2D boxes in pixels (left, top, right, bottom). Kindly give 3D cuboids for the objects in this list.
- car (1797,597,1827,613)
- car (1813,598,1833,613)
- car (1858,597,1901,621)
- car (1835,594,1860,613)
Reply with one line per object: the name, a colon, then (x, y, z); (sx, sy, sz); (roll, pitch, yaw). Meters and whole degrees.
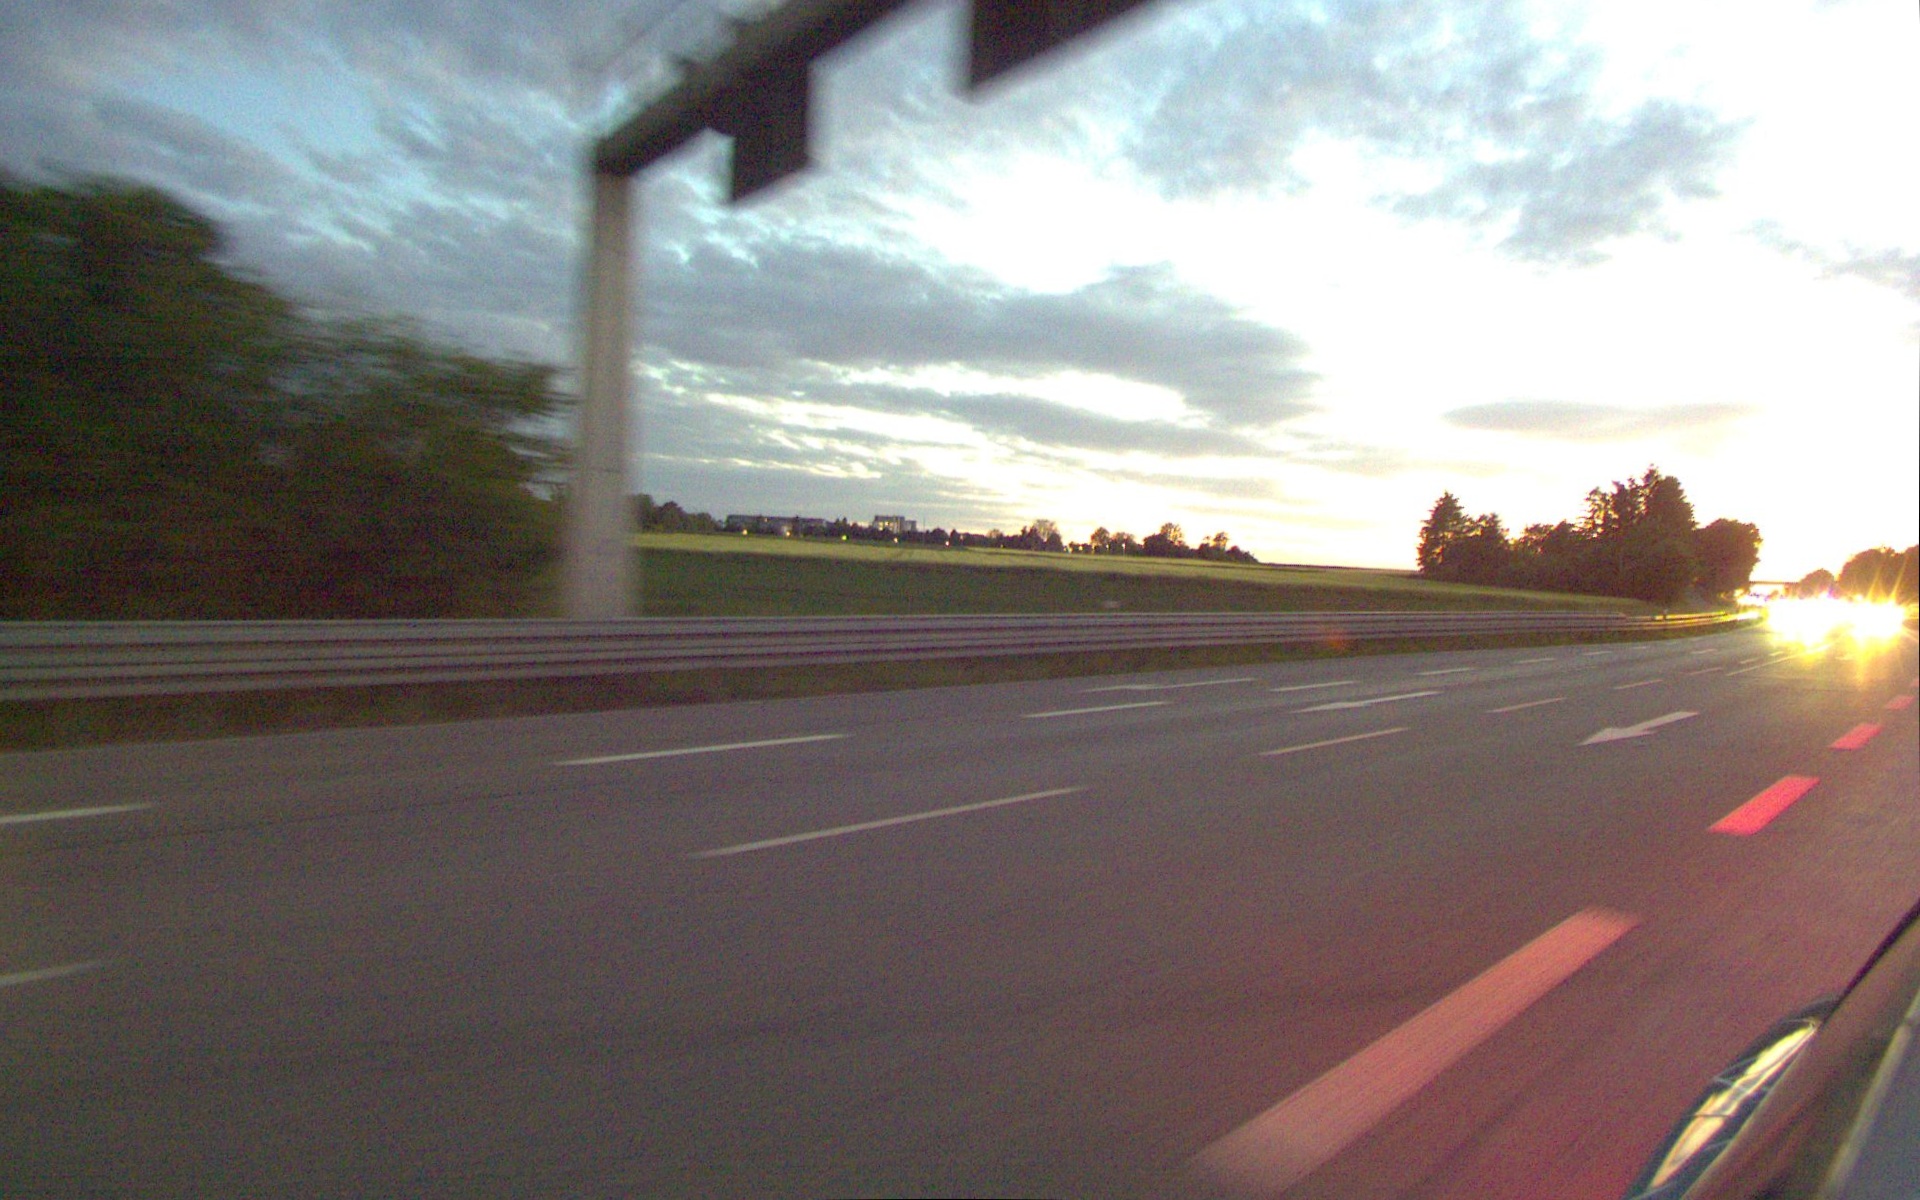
car: (86.055, 0.511, 102.152); (3.935, 1.604, 1.994); (0, 0, -45)
car: (106.994, 0.656, 125.518); (1.826, 1.772, 3.794); (0, -1, 40)
car: (57.358, 0.567, 63.191); (1.748, 1.474, 3.749); (0, 0, 39)
car: (97.898, 0.335, 111.621); (1.858, 2.039, 3.935); (0, 0, 45)
